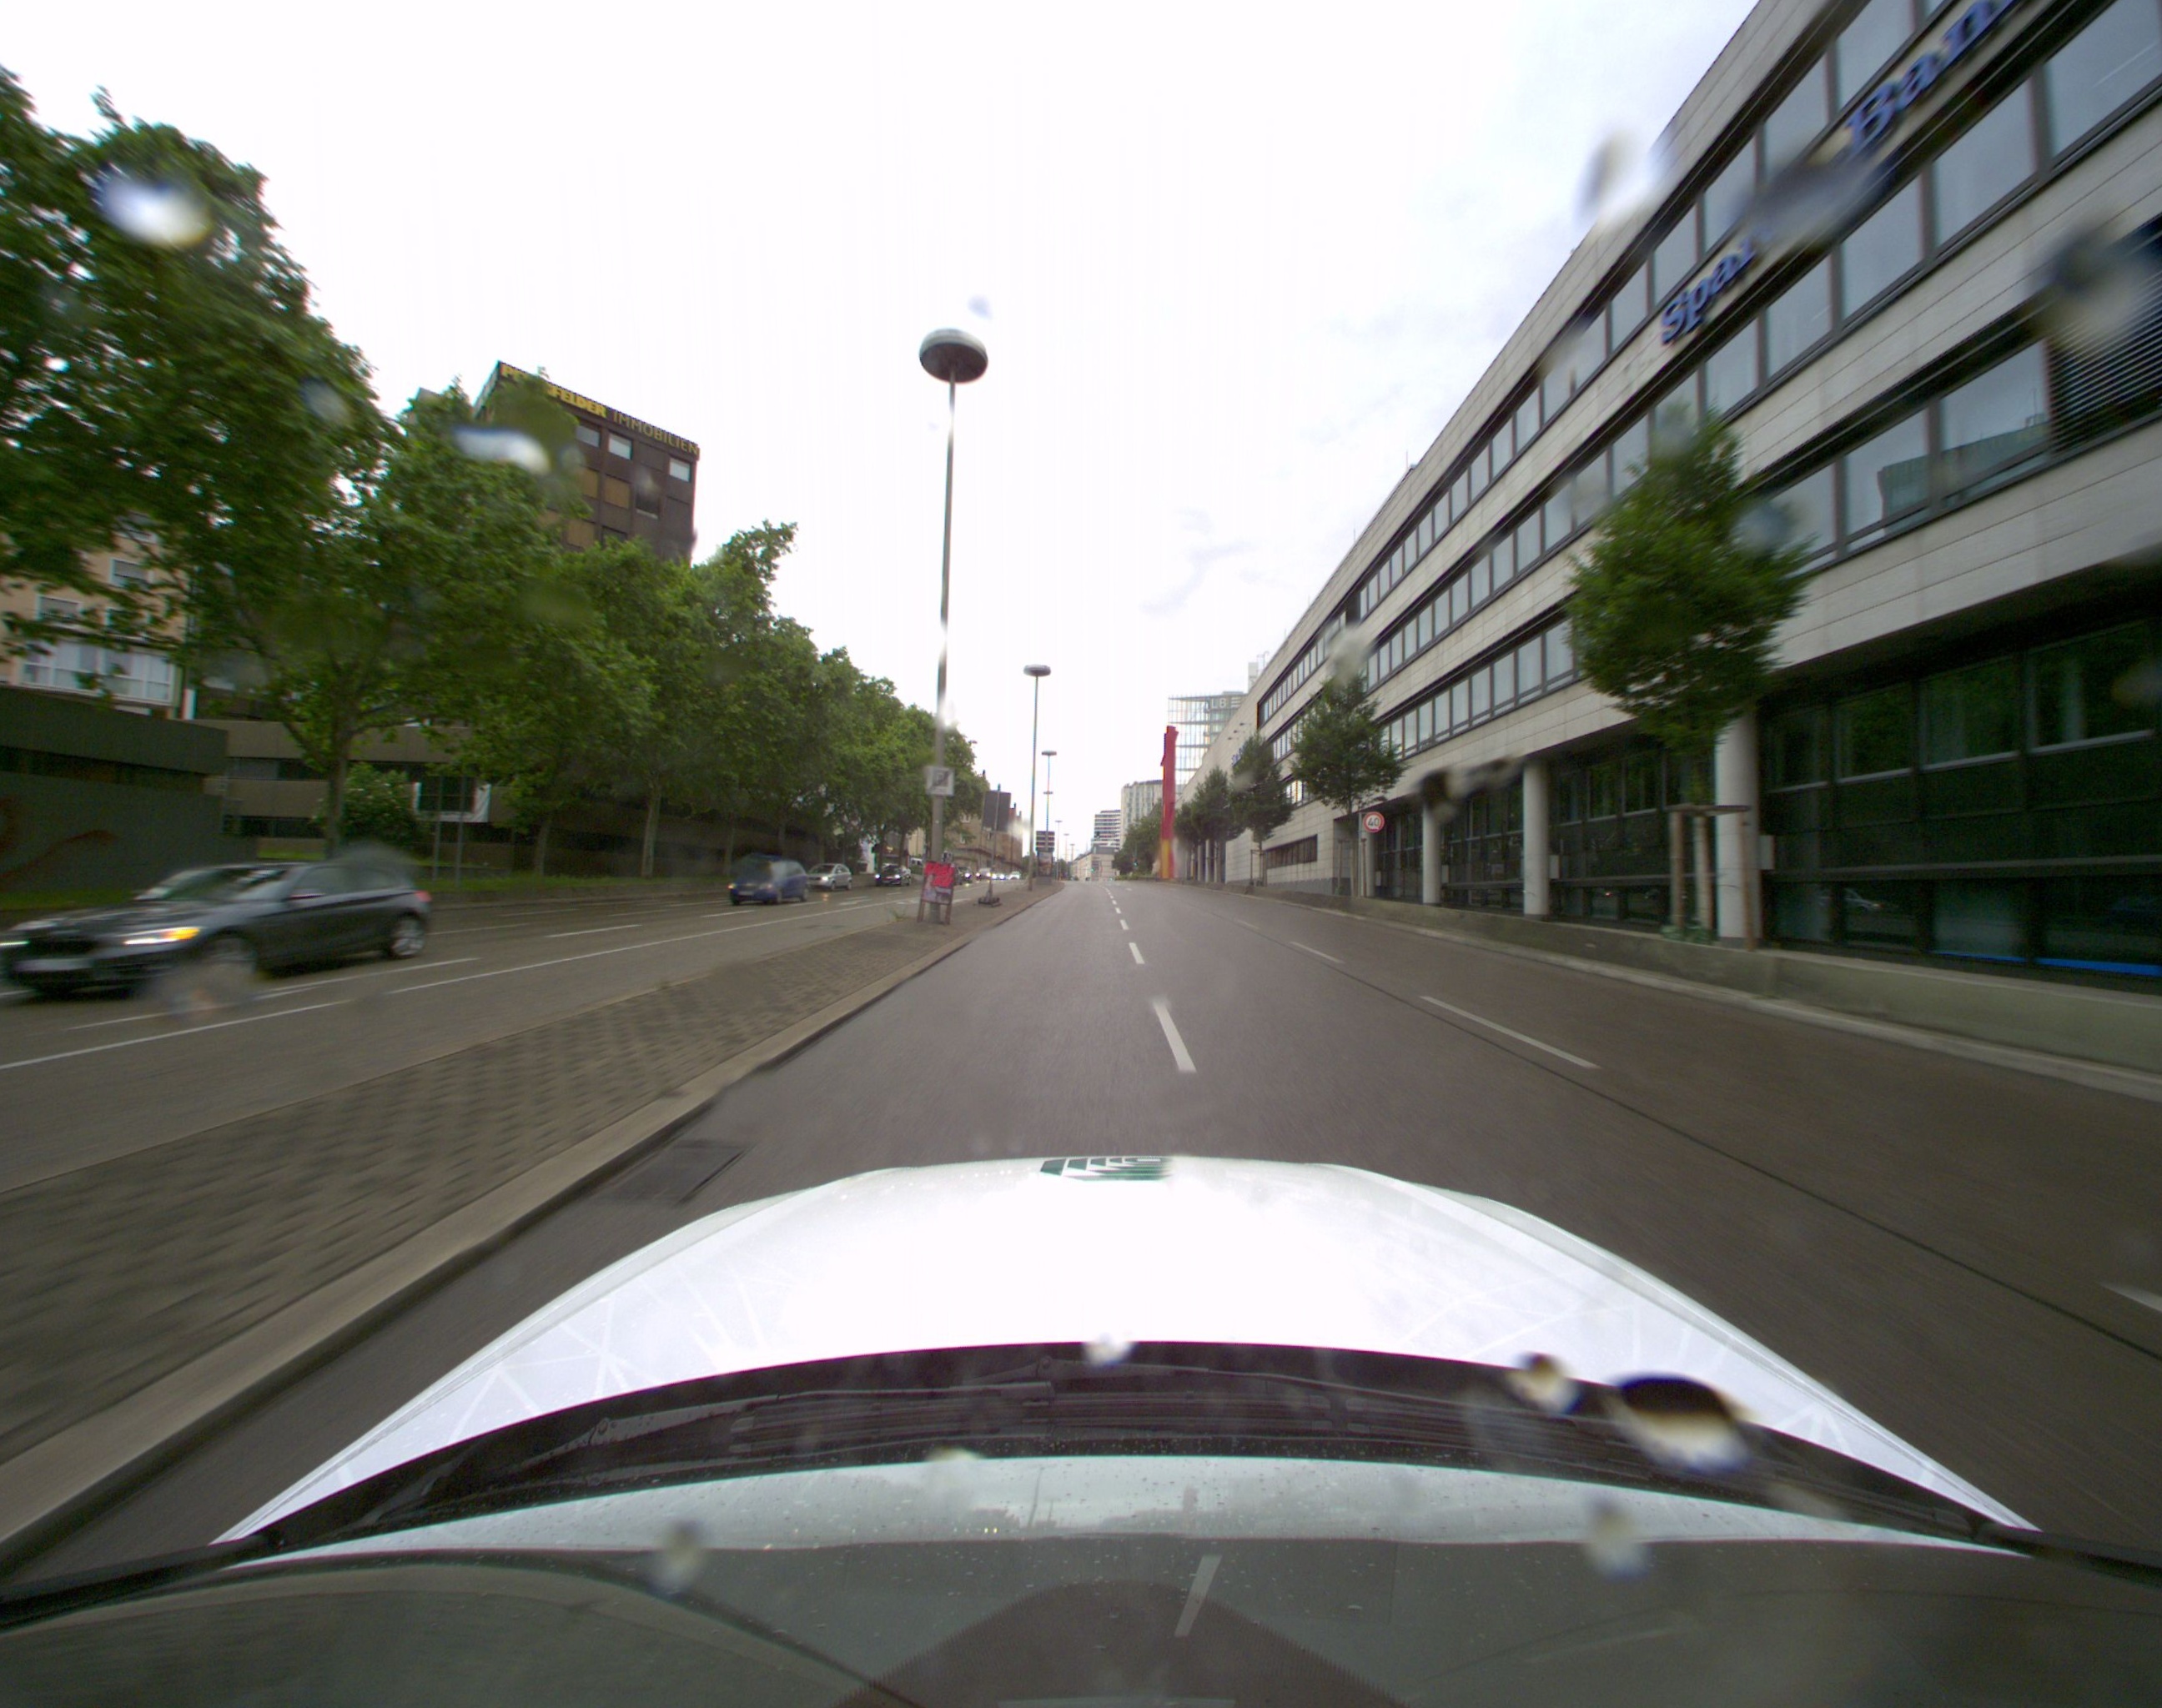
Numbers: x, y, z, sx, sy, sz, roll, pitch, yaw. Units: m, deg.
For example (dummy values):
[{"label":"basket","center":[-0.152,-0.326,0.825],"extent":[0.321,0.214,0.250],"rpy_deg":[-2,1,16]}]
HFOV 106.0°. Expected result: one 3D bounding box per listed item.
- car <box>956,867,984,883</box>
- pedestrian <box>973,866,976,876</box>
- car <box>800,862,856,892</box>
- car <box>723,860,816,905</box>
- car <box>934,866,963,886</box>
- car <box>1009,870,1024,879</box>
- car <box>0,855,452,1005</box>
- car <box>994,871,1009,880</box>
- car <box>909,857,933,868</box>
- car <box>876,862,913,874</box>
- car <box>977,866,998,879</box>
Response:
[{"label":"car","center":[-10.213,1.989,74.962],"extent":[1.812,1.403,4.003],"rpy_deg":[-1,-2,3]},{"label":"pedestrian","center":[-18.428,2.972,141.000],"extent":[0.496,1.611,0.500],"rpy_deg":[1,-2,4]},{"label":"car","center":[-13.941,1.237,45.042],"extent":[1.590,1.491,3.761],"rpy_deg":[1,0,6]},{"label":"car","center":[-11.018,0.969,29.091],"extent":[1.602,1.473,4.070],"rpy_deg":[0,0,2]},{"label":"car","center":[-9.963,1.639,61.474],"extent":[1.682,1.410,3.996],"rpy_deg":[0,-1,-2]},{"label":"car","center":[-10.510,3.368,132.746],"extent":[1.812,1.469,4.003],"rpy_deg":[-1,-2,3]},{"label":"car","center":[-10.348,0.754,10.241],"extent":[1.805,1.448,4.331],"rpy_deg":[0,0,-6]},{"label":"car","center":[-13.364,3.612,136.824],"extent":[1.812,1.385,4.003],"rpy_deg":[-1,-2,3]},{"label":"car","center":[-26.392,1.416,134.454],"extent":[3.619,1.701,1.823],"rpy_deg":[-1,-2,-2]},{"label":"car","center":[-24.542,1.886,107.350],"extent":[1.802,1.511,4.606],"rpy_deg":[-3,-3,39]},{"label":"car","center":[-11.039,2.223,96.263],"extent":[1.812,1.403,4.003],"rpy_deg":[-1,-2,3]}]
